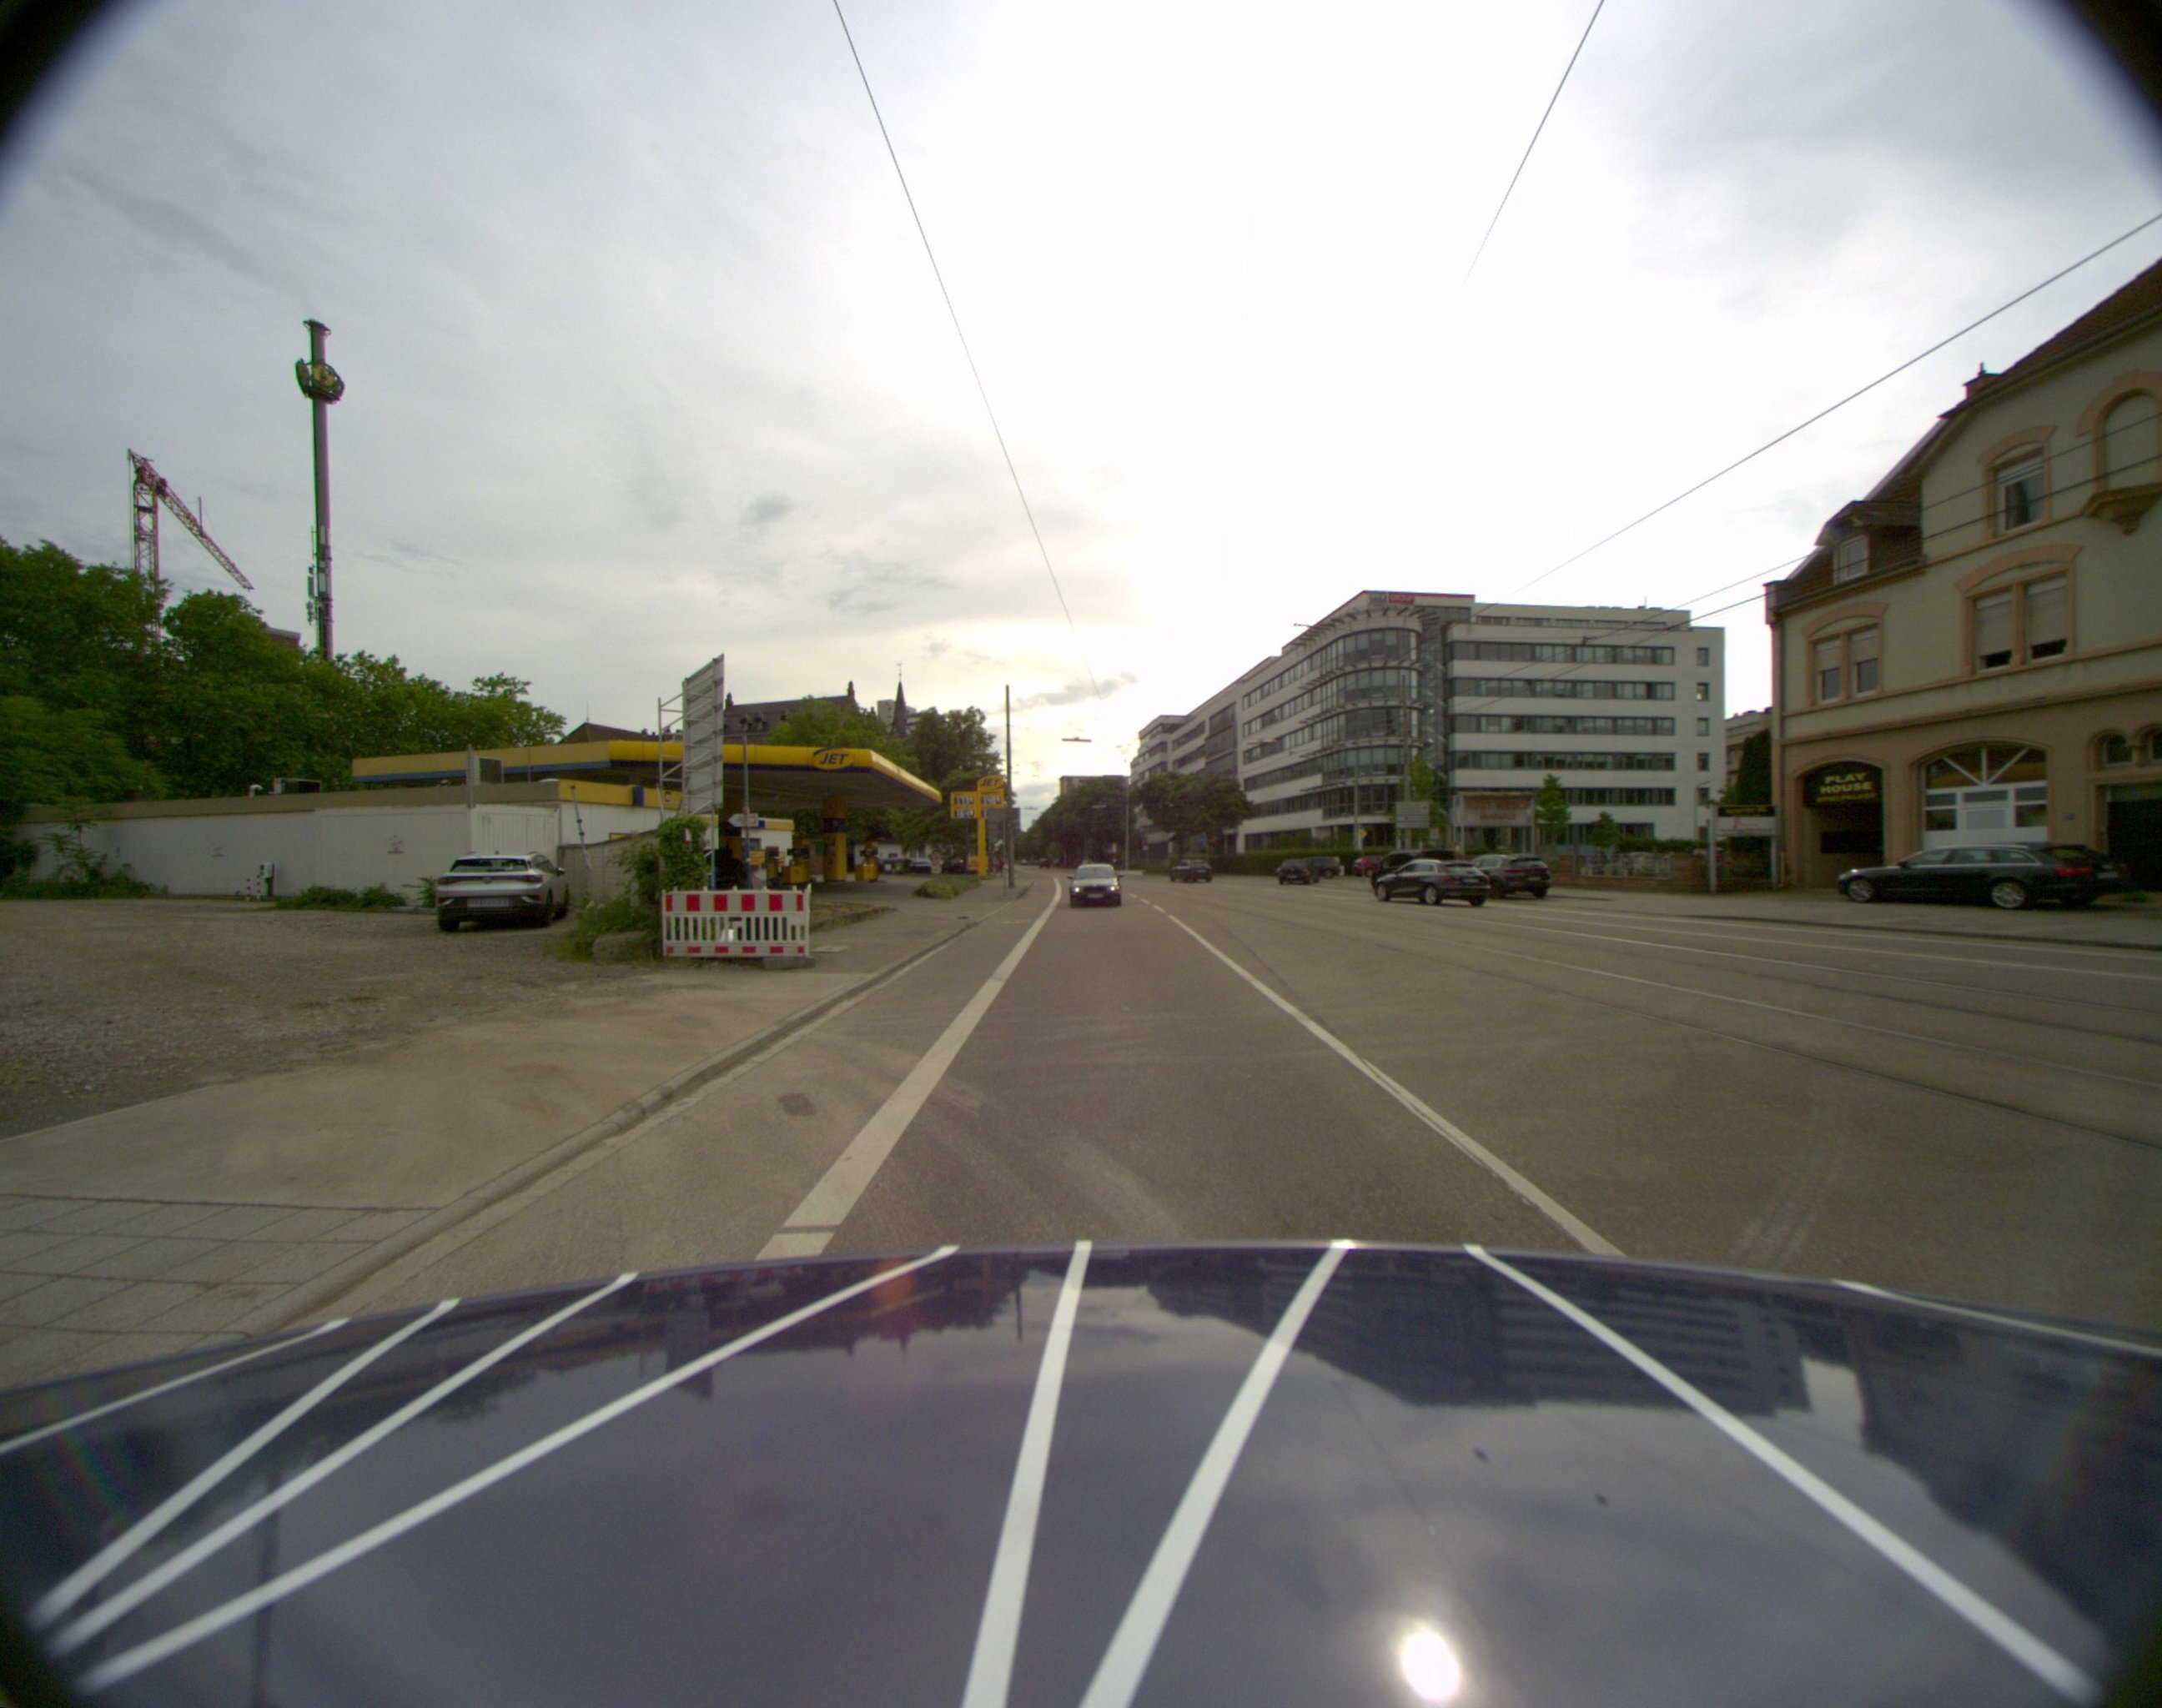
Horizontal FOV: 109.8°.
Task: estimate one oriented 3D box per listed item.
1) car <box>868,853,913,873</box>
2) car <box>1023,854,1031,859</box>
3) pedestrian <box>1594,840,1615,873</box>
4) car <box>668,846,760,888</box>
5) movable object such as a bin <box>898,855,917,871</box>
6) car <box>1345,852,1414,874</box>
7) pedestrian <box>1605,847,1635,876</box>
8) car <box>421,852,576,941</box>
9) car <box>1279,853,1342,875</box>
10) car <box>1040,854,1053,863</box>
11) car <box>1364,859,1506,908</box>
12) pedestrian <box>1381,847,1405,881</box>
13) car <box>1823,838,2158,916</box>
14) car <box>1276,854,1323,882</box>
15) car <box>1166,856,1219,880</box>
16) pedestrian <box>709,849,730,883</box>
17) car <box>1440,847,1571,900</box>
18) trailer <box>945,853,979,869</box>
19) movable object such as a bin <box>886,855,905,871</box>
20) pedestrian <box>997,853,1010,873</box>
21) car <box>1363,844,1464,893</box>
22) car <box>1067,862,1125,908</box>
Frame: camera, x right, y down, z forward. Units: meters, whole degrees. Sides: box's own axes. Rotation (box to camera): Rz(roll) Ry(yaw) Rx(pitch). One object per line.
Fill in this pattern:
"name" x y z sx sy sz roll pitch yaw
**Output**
"car" -17.868 0.811 71.422 1.807 1.686 4.033 -1 1 30
"car" -15.424 0.735 217.529 1.802 1.537 4.476 -1 0 -9
"pedestrian" 29.084 0.135 42.238 0.636 1.764 0.761 -2 1 -1
"car" -18.454 0.573 38.395 1.821 1.976 4.258 1 1 15
"movable object such as a bin" -15.372 0.788 67.402 1.118 1.312 1.162 -1 1 28
"car" 20.540 0.637 52.364 4.019 1.413 1.725 -1 -2 -6
"pedestrian" 37.339 0.515 52.670 1.217 2.002 1.186 0 0 -19
"car" -12.371 0.788 16.434 2.003 1.628 3.940 0 1 -28
"car" 15.285 0.652 50.706 3.979 1.443 1.818 0 1 17
"car" -6.682 0.812 147.590 1.848 1.714 4.403 -1 0 -10
"car" 11.365 0.885 24.753 1.888 1.420 4.419 0 0 -12
"pedestrian" 17.047 0.532 41.555 0.806 1.814 1.059 -2 1 -3
"car" 21.439 0.471 18.335 1.999 1.484 4.900 -4 1 -4
"car" 12.549 0.776 43.522 1.791 1.521 4.149 1 0 27
"car" 7.082 0.869 48.872 1.911 1.464 4.815 0 0 -10
"pedestrian" -19.189 0.638 40.293 0.706 1.777 0.628 -1 1 21
"car" 16.058 0.711 29.071 2.043 1.739 4.532 -3 0 -6
"trailer" -12.224 0.704 78.253 3.292 1.523 1.772 1 2 -6
"movable object such as a bin" -16.549 0.790 67.840 1.118 1.351 1.162 -1 1 28
"pedestrian" -6.941 0.844 68.015 0.871 1.738 0.848 2 1 -32
"car" 15.174 0.612 35.064 1.992 2.002 5.182 -3 1 -5
"car" 0.517 1.004 26.265 1.786 1.361 4.113 -2 0 1
